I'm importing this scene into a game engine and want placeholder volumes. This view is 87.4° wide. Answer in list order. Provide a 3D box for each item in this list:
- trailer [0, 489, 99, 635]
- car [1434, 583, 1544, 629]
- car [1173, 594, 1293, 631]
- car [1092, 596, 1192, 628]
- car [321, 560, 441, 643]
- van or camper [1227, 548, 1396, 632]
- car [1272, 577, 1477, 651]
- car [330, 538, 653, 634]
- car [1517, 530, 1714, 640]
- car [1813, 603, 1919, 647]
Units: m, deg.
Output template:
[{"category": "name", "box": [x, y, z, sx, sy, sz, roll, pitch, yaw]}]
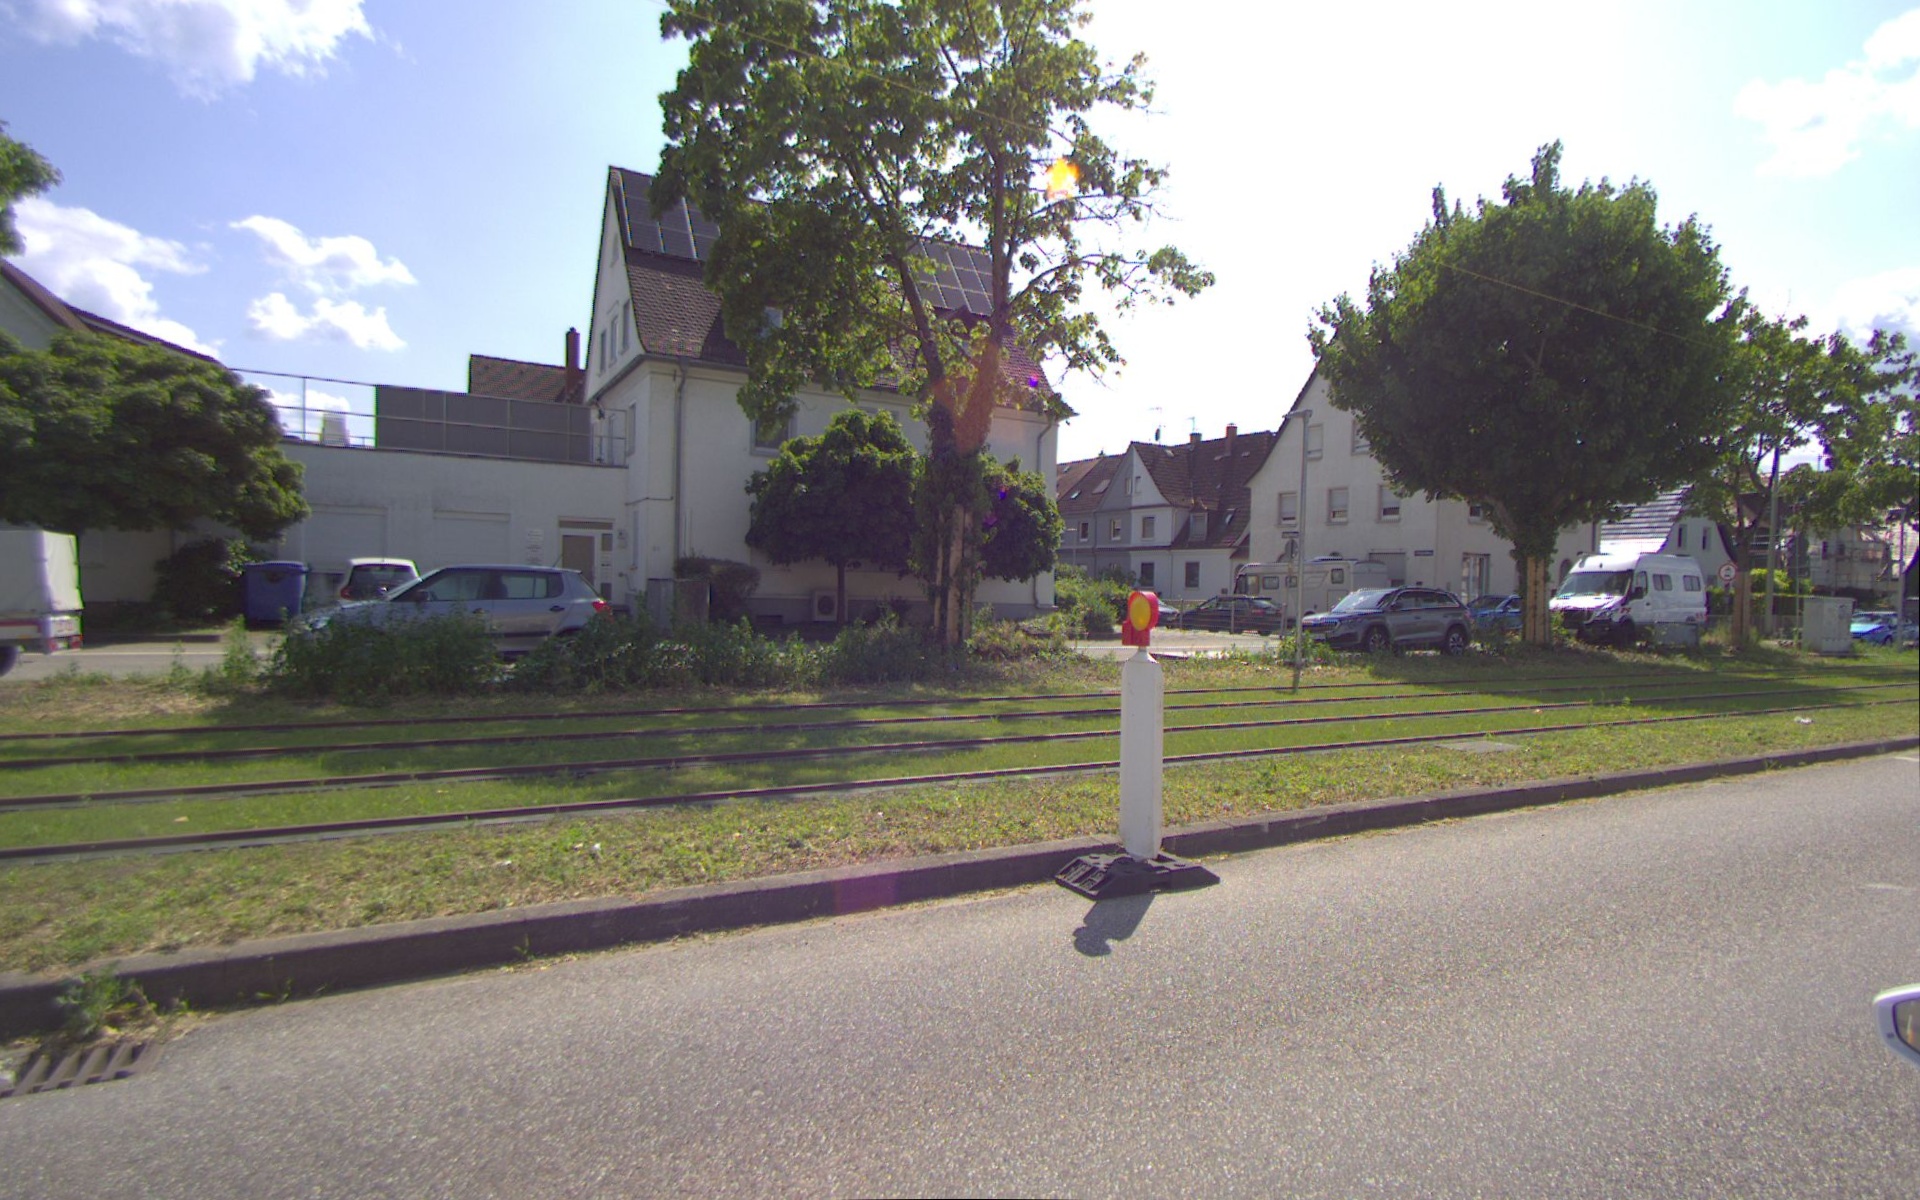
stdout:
[{"category": "trailer", "box": [-11.040, -0.432, 10.951, 2.254, 1.539, 1.293, 1, 1, -30]}, {"category": "car", "box": [20.522, 0.234, 38.924, 3.951, 1.598, 1.894, 2, 0, -29]}, {"category": "car", "box": [9.870, 0.424, 36.531, 2.021, 1.177, 3.969, 2, 0, -29]}, {"category": "car", "box": [7.372, 0.486, 41.022, 1.976, 1.149, 3.970, 2, 0, -29]}, {"category": "car", "box": [-12.072, -0.034, 21.084, 1.975, 1.548, 3.969, -1, 2, -29]}, {"category": "van or camper", "box": [14.773, -0.463, 42.726, 2.602, 3.265, 6.697, 1, 1, -29]}, {"category": "car", "box": [9.449, 0.328, 22.862, 4.432, 1.526, 1.984, 2, 0, -29]}, {"category": "car", "box": [-6.360, -0.155, 13.765, 3.794, 1.108, 1.771, 2, 0, -32]}, {"category": "car", "box": [18.197, -0.353, 27.759, 6.389, 2.767, 1.983, 1, 1, -31]}, {"category": "car", "box": [32.717, 0.891, 36.123, 3.840, 1.455, 1.747, 2, 0, -27]}]
